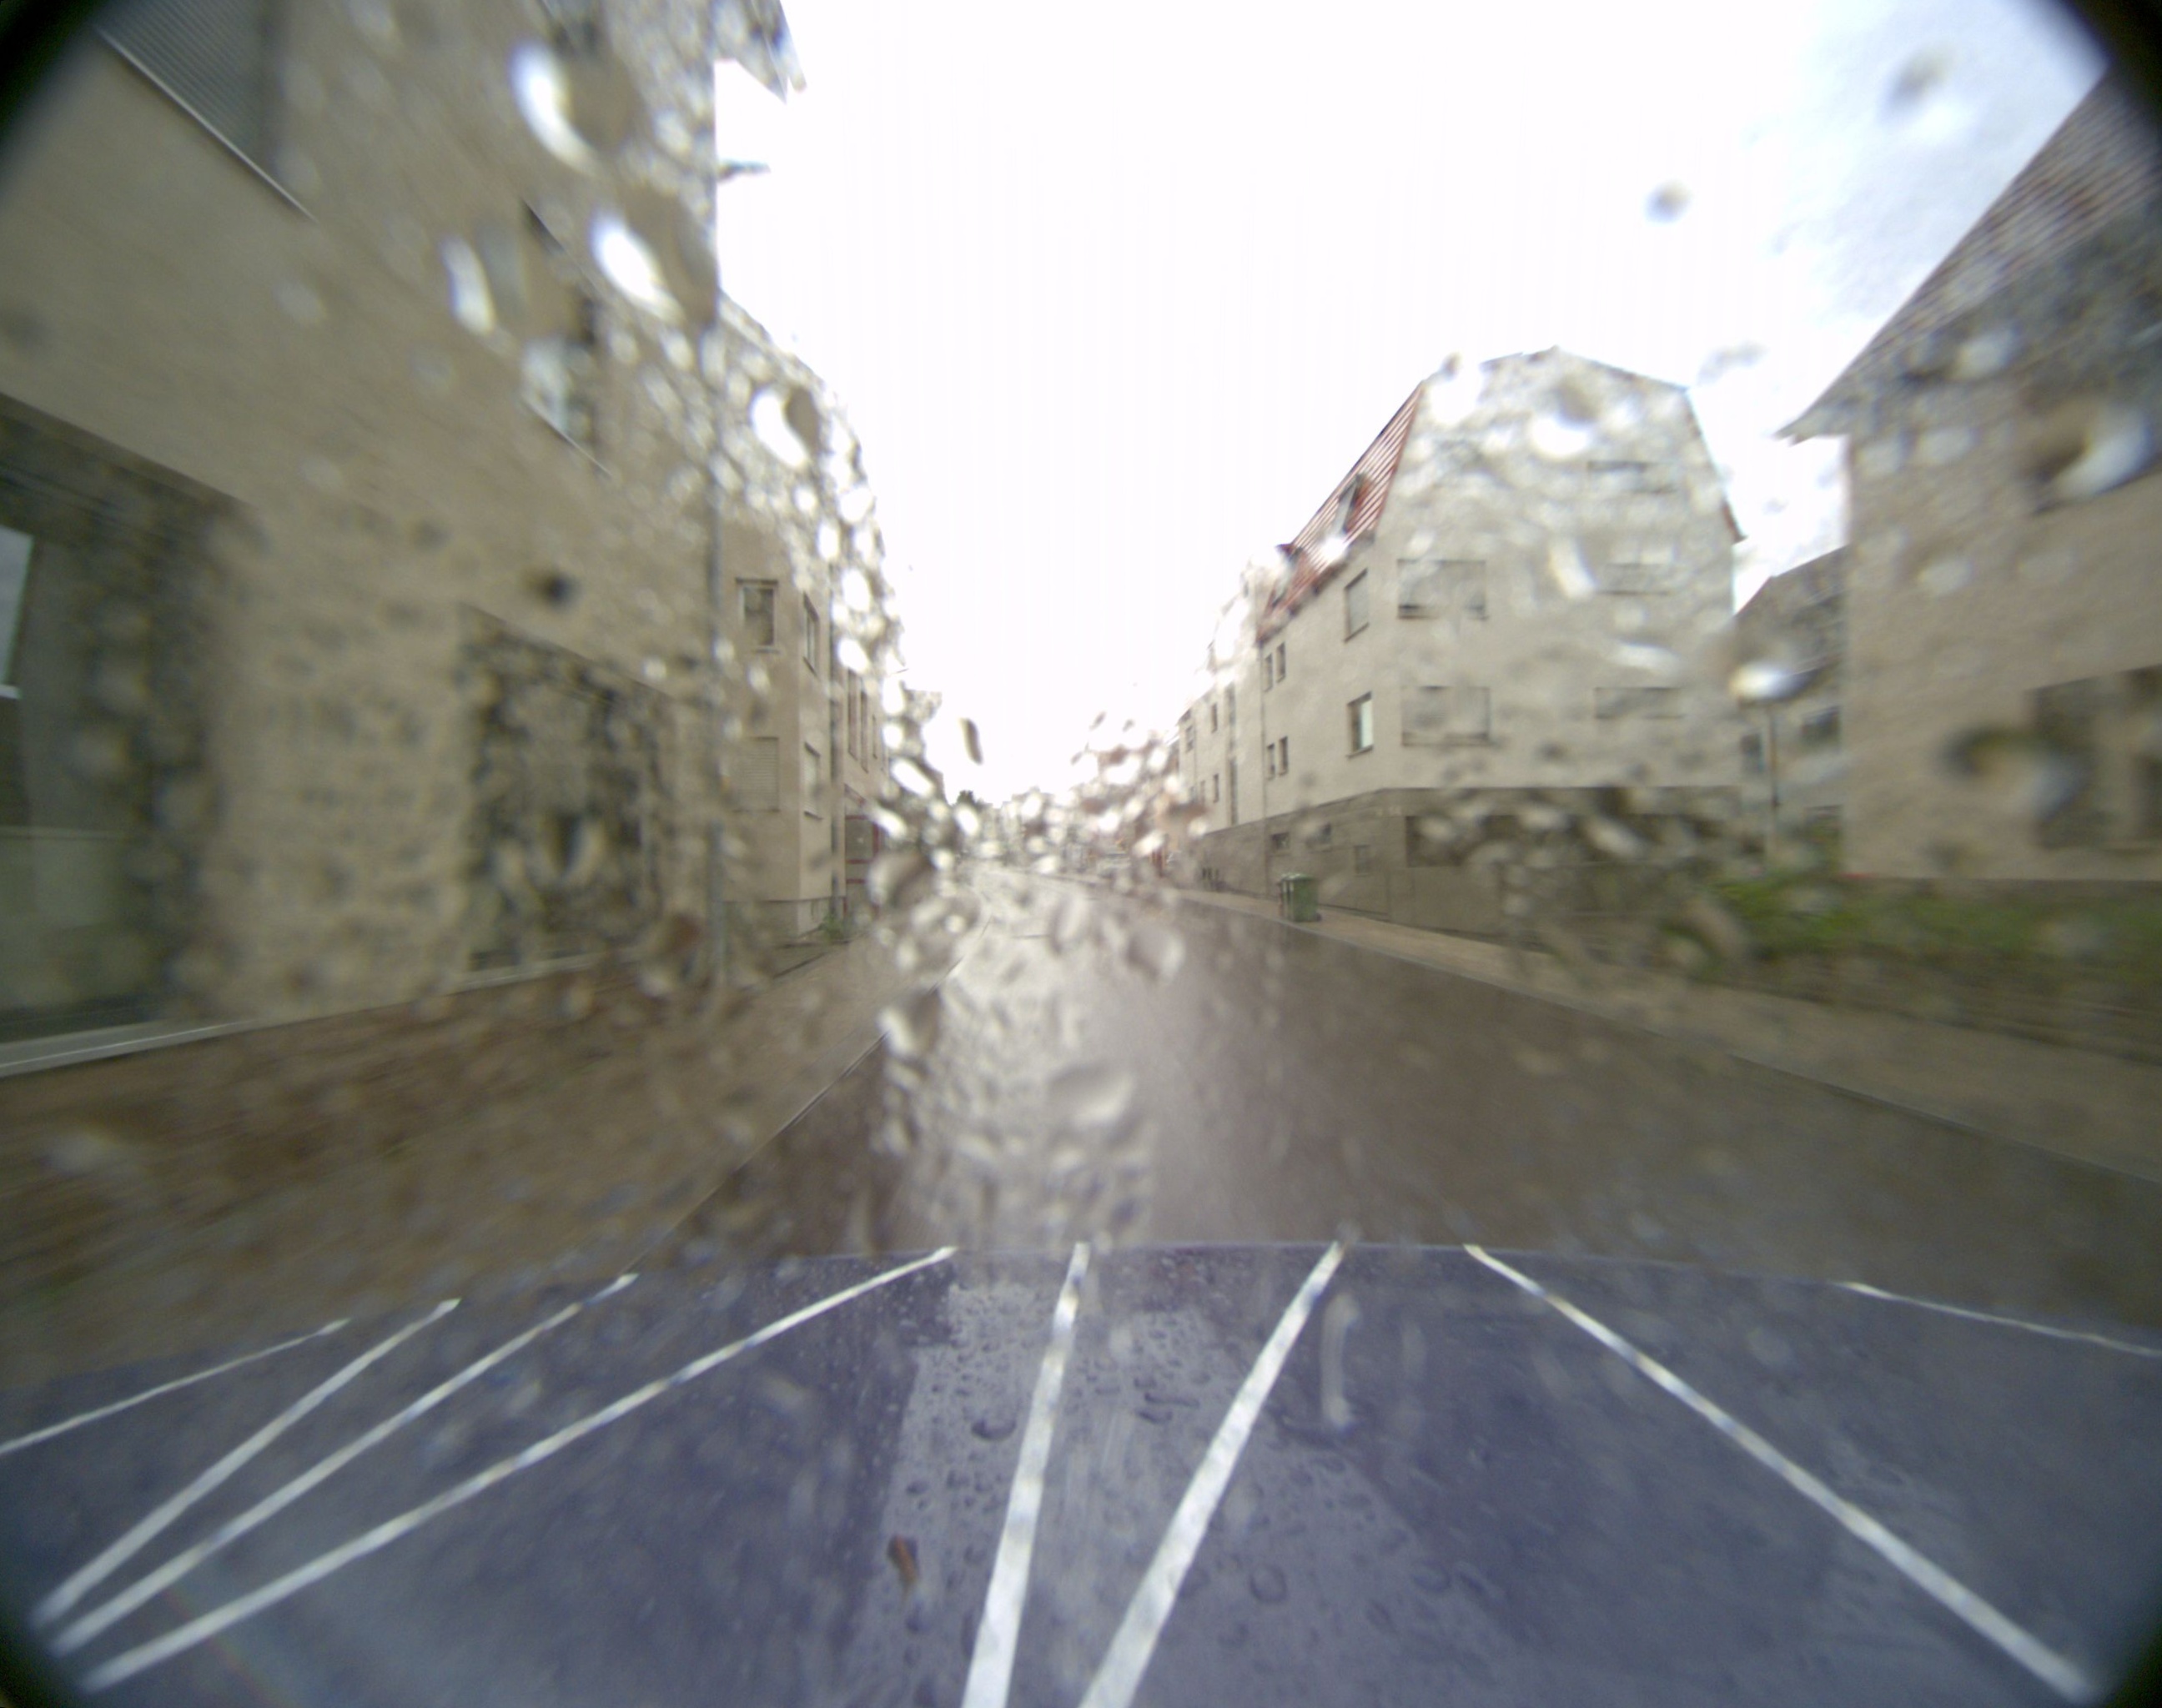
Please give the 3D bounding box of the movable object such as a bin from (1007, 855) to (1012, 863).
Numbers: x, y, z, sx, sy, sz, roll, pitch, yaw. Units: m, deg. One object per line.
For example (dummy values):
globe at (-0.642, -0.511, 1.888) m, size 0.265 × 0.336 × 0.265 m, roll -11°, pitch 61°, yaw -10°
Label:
movable object such as a bin at (-8.527, 0.603, 90.170) m, size 0.522 × 1.020 × 0.414 m, roll -2°, pitch 1°, yaw -10°

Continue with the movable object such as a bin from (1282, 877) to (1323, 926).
movable object such as a bin at (4.916, 1.044, 16.882) m, size 0.683 × 1.039 × 0.661 m, roll -2°, pitch 1°, yaw -2°

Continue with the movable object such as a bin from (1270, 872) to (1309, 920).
movable object such as a bin at (4.848, 0.972, 17.678) m, size 0.683 × 1.060 × 0.694 m, roll -2°, pitch 1°, yaw -2°

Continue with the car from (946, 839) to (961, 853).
car at (-19.524, -1.206, 116.230) m, size 1.712 × 2.089 × 3.935 m, roll -2°, pitch 1°, yaw -15°

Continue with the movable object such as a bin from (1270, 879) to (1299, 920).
movable object such as a bin at (4.910, 1.092, 18.352) m, size 0.507 × 0.917 × 0.579 m, roll -2°, pitch 1°, yaw -5°

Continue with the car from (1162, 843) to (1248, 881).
car at (6.424, 0.391, 39.564) m, size 4.000 × 1.660 × 1.876 m, roll -4°, pitch 1°, yaw -9°

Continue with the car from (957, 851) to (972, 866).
car at (-15.552, 0.600, 101.410) m, size 1.829 × 1.964 × 4.512 m, roll 0°, pitch 1°, yaw -10°

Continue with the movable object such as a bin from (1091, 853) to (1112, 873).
movable object such as a bin at (1.441, 0.626, 54.062) m, size 1.290 × 1.360 × 0.995 m, roll 0°, pitch 1°, yaw -14°

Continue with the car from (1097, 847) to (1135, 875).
car at (2.210, 0.425, 49.260) m, size 1.819 × 1.696 × 4.614 m, roll 0°, pitch 0°, yaw -5°

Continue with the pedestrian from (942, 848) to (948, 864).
pedestrian at (-14.302, 0.212, 79.891) m, size 0.656 × 1.572 × 0.436 m, roll 1°, pitch 1°, yaw -11°

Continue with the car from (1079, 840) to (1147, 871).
car at (2.383, 0.106, 56.552) m, size 4.526 × 1.967 × 1.997 m, roll -4°, pitch 0°, yaw -19°
